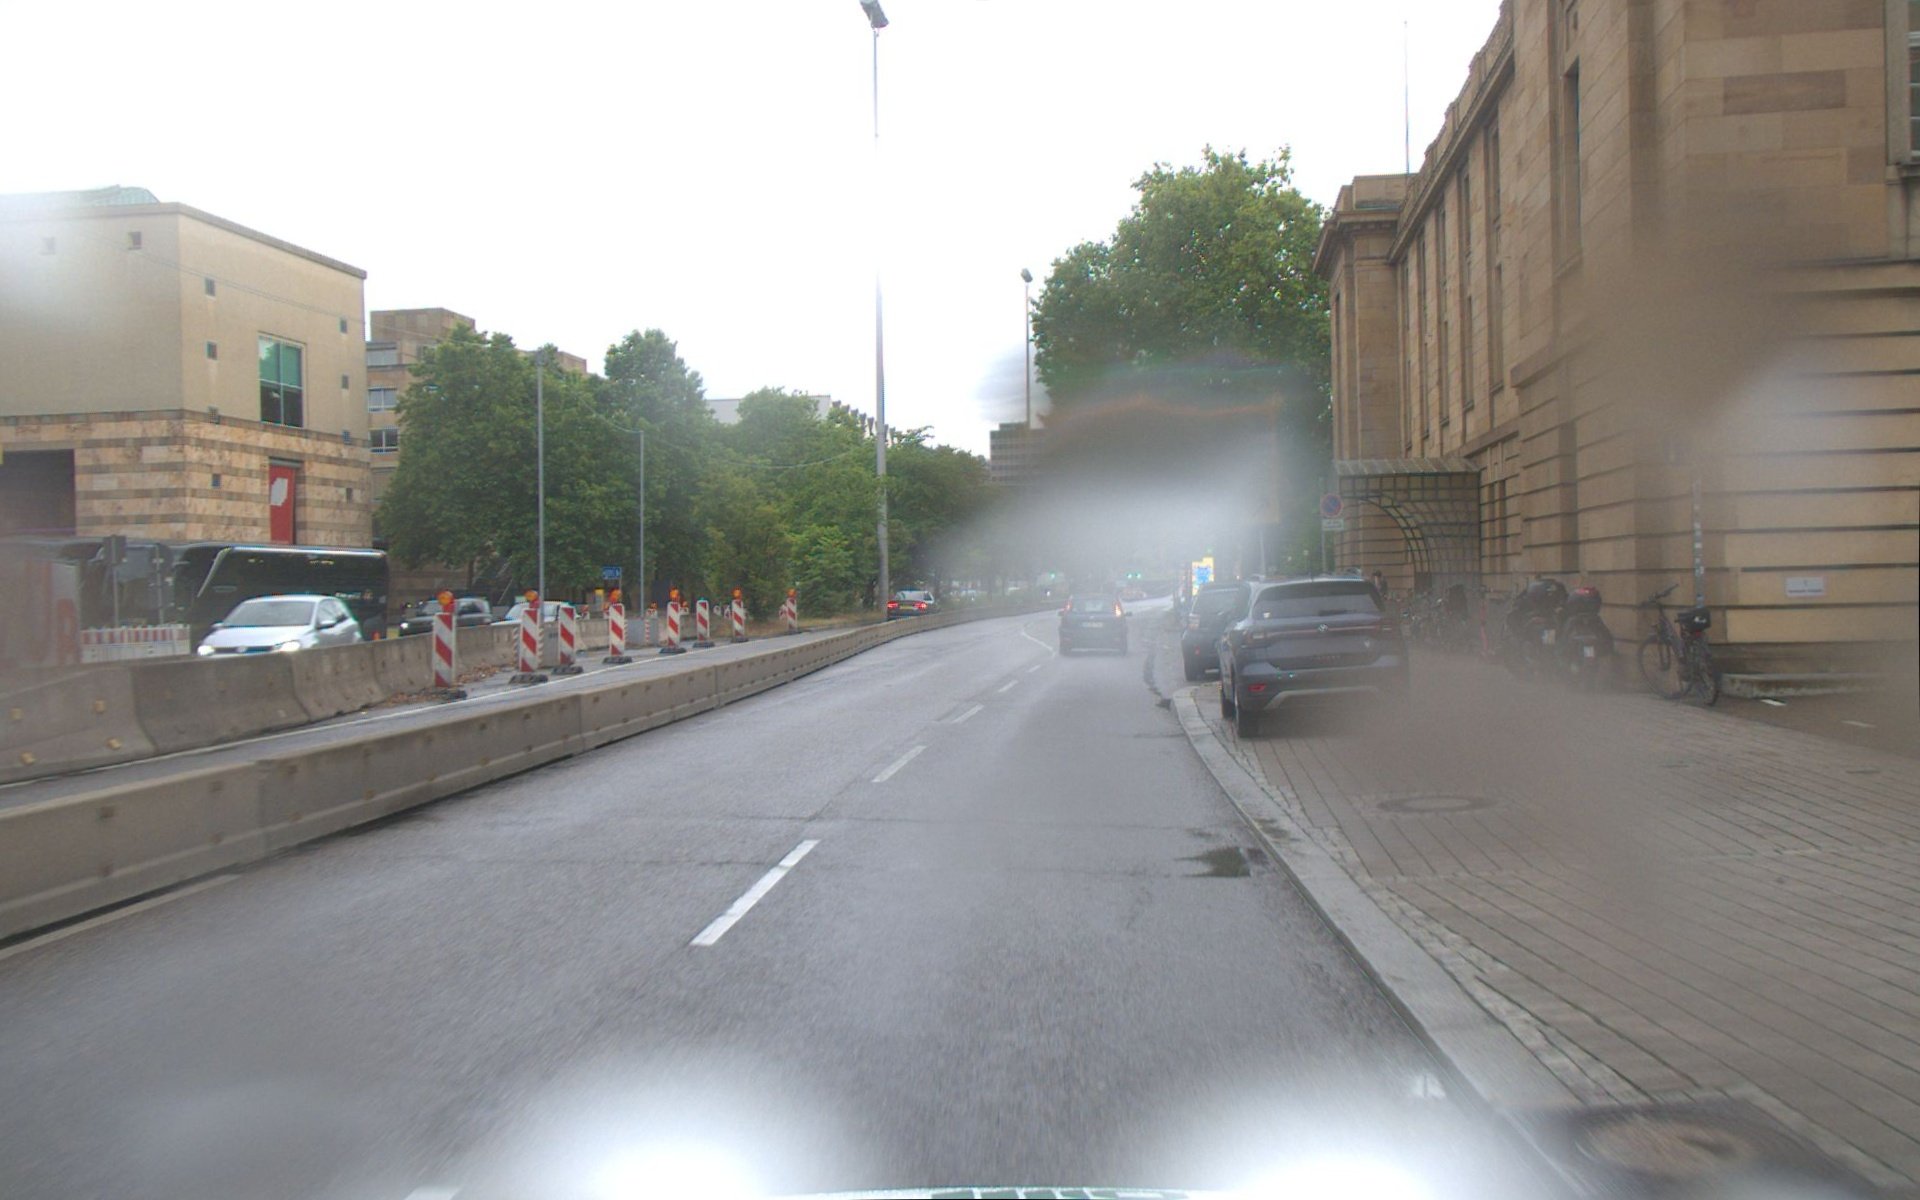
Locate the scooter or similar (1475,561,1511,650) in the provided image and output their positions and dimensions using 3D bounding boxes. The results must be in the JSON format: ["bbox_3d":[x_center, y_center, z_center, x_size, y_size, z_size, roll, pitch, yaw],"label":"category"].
[{"bbox_3d":[8.831,0.089,27.436,0.404,1.442,1.269,-1,0,11],"label":"scooter or similar"}]

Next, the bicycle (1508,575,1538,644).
[{"bbox_3d":[9.045,0.132,26.542,0.410,1.068,1.772,-1,0,20],"label":"bicycle"}]

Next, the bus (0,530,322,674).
[{"bbox_3d":[-26.965,-0.096,56.484,3.052,4.326,13.507,0,1,11],"label":"bus"}]

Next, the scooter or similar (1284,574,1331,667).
[{"bbox_3d":[4.807,0.272,22.921,0.424,1.238,1.123,-3,0,5],"label":"scooter or similar"}]

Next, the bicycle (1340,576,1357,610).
[{"bbox_3d":[12.926,-0.245,55.020,0.344,1.099,1.791,0,0,7],"label":"bicycle"}]

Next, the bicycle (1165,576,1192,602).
[{"bbox_3d":[8.468,-0.423,64.080,0.655,0.984,1.637,-1,1,22],"label":"bicycle"}]

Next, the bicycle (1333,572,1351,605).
[{"bbox_3d":[13.086,-0.389,56.632,0.344,1.099,1.790,-3,0,7],"label":"bicycle"}]

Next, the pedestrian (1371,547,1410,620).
[{"bbox_3d":[11.036,-0.422,42.435,0.778,1.808,0.642,-4,0,7],"label":"pedestrian"}]

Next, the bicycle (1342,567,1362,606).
[{"bbox_3d":[13.214,-0.459,55.727,0.444,1.273,1.601,0,1,6],"label":"bicycle"}]

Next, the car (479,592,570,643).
[{"bbox_3d":[-12.427,0.464,47.427,1.739,1.284,4.763,0,1,-5],"label":"car"}]

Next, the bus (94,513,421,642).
[{"bbox_3d":[-23.621,-0.831,57.245,2.744,3.877,14.611,0,1,11],"label":"bus"}]

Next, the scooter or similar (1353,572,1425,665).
[{"bbox_3d":[6.225,0.263,24.064,0.426,1.315,1.252,-1,0,-16],"label":"scooter or similar"}]

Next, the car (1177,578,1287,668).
[{"bbox_3d":[4.751,0.363,28.588,1.721,1.439,3.155,-1,0,12],"label":"car"}]

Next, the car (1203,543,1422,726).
[{"bbox_3d":[3.631,0.282,17.757,1.831,1.647,4.408,-2,1,7],"label":"car"}]

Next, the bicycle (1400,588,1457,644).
[{"bbox_3d":[9.368,0.310,33.114,0.697,1.070,1.741,-1,0,2],"label":"bicycle"}]

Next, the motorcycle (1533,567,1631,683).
[{"bbox_3d":[7.469,0.279,19.926,0.789,1.321,1.800,-1,0,11],"label":"motorcycle"}]

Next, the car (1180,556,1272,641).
[{"bbox_3d":[6.092,-0.039,37.896,1.951,1.812,4.192,-1,0,9],"label":"car"}]

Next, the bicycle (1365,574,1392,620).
[{"bbox_3d":[11.457,-0.089,45.312,0.454,1.236,1.693,-1,0,5],"label":"bicycle"}]

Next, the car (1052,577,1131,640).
[{"bbox_3d":[3.229,0.202,40.567,1.805,1.441,3.841,-1,0,5],"label":"car"}]

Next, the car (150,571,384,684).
[{"bbox_3d":[-10.703,0.362,25.890,1.953,1.556,4.000,-2,1,0],"label":"car"}]

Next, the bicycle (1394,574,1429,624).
[{"bbox_3d":[9.846,-0.020,36.085,0.571,1.056,1.760,-1,0,11],"label":"bicycle"}]

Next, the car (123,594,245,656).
[{"bbox_3d":[-21.271,0.655,45.448,1.558,1.526,3.216,-4,0,5],"label":"car"}]

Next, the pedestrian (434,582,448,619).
[{"bbox_3d":[-29.600,0.028,94.347,0.467,2.049,0.512,-3,0,8],"label":"pedestrian"}]

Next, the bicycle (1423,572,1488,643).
[{"bbox_3d":[9.335,0.128,31.209,0.715,1.290,1.759,-2,0,2],"label":"bicycle"}]

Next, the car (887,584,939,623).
[{"bbox_3d":[-1.871,0.113,66.918,1.717,1.477,4.002,-2,0,3],"label":"car"}]

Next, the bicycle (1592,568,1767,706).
[{"bbox_3d":[7.441,0.361,17.223,1.079,1.340,1.859,-1,0,3],"label":"bicycle"}]

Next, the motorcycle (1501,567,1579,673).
[{"bbox_3d":[7.738,0.249,22.134,0.653,1.349,2.137,-1,0,11],"label":"motorcycle"}]

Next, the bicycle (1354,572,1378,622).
[{"bbox_3d":[12.818,-0.101,52.265,0.444,1.542,1.601,0,1,4],"label":"bicycle"}]
